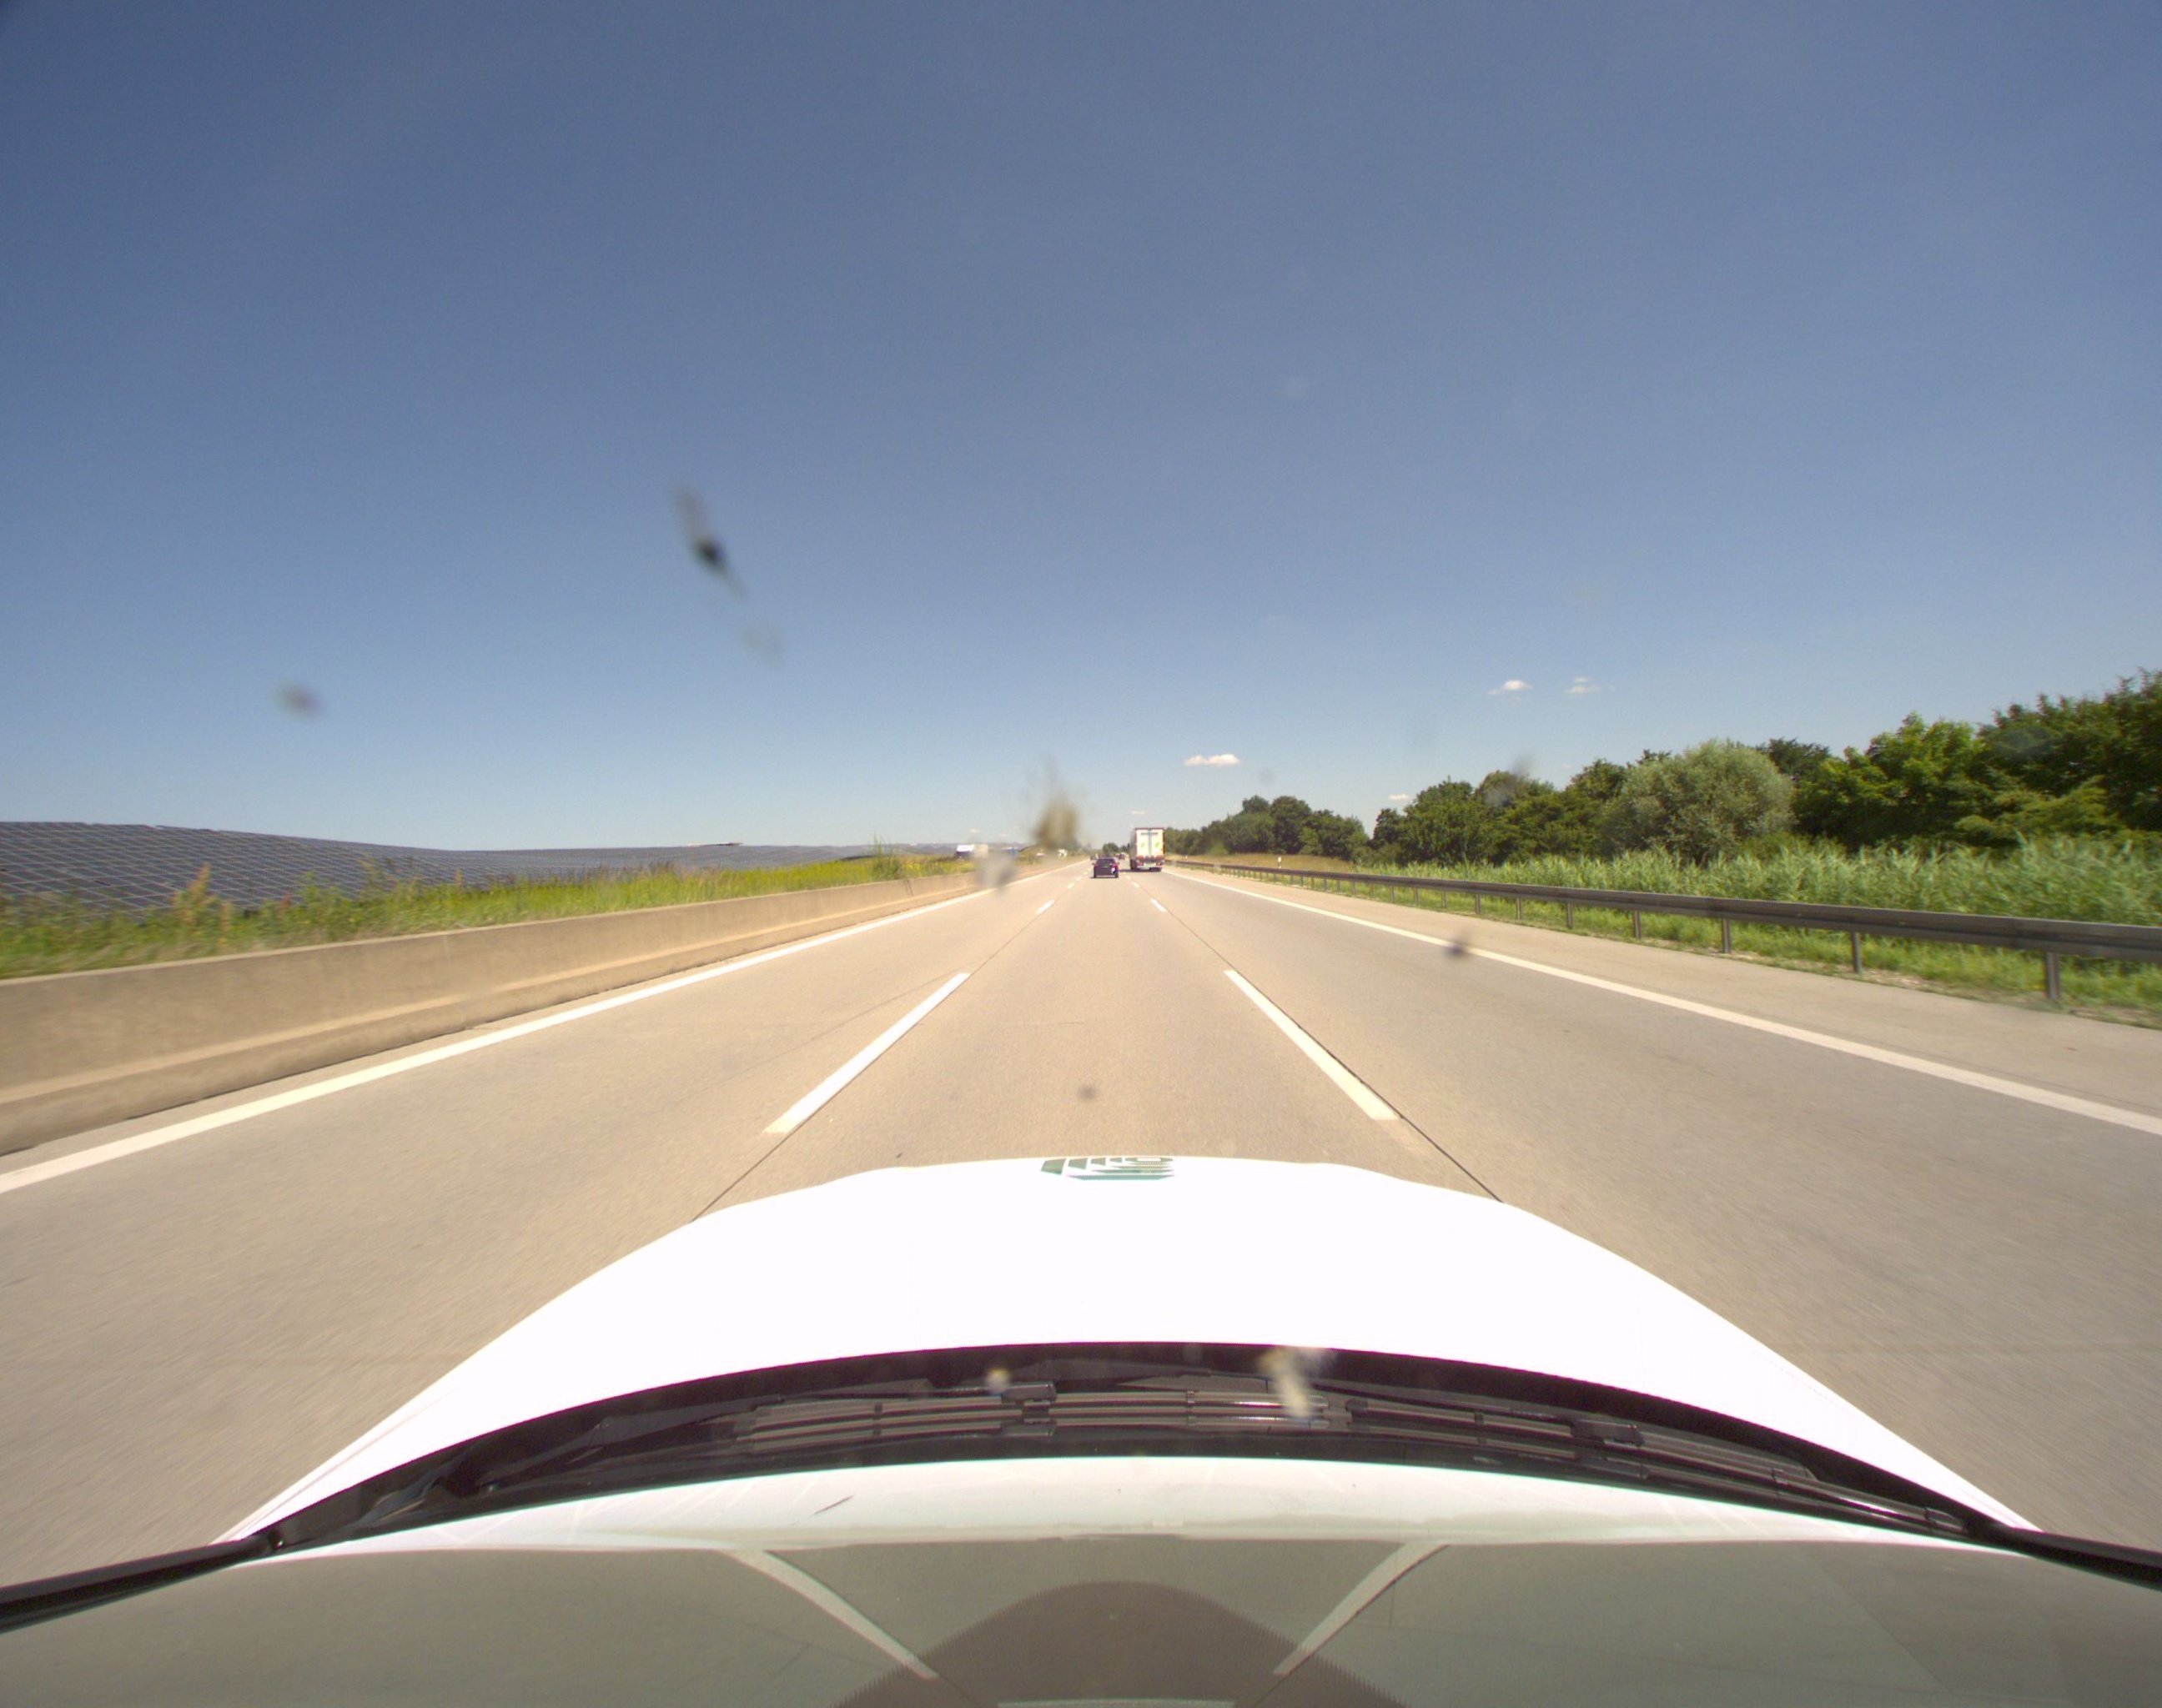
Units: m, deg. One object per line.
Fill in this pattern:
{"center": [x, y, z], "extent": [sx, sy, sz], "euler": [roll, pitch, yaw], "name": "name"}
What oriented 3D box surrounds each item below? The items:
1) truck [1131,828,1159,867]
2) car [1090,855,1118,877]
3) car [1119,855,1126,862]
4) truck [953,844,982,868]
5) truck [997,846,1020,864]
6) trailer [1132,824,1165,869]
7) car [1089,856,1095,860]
{"center": [6.822, -0.660, 87.196], "extent": [2.801, 4.088, 5.802], "euler": [-1, 0, 2], "name": "truck"}
{"center": [1.611, 0.804, 58.094], "extent": [1.903, 1.492, 4.193], "euler": [0, 0, 1], "name": "car"}
{"center": [11.774, 1.214, 232.607], "extent": [1.820, 1.907, 4.001], "euler": [-1, 0, 1], "name": "car"}
{"center": [-16.888, 0.380, 121.646], "extent": [3.110, 3.487, 6.888], "euler": [0, -1, 2], "name": "truck"}
{"center": [-12.528, 0.193, 142.371], "extent": [2.814, 3.064, 10.378], "euler": [0, -1, 2], "name": "truck"}
{"center": [6.451, -0.639, 79.381], "extent": [2.841, 4.042, 12.723], "euler": [-1, 0, 3], "name": "trailer"}
{"center": [3.193, 1.058, 230.920], "extent": [1.649, 1.196, 3.961], "euler": [2, 0, 2], "name": "car"}
